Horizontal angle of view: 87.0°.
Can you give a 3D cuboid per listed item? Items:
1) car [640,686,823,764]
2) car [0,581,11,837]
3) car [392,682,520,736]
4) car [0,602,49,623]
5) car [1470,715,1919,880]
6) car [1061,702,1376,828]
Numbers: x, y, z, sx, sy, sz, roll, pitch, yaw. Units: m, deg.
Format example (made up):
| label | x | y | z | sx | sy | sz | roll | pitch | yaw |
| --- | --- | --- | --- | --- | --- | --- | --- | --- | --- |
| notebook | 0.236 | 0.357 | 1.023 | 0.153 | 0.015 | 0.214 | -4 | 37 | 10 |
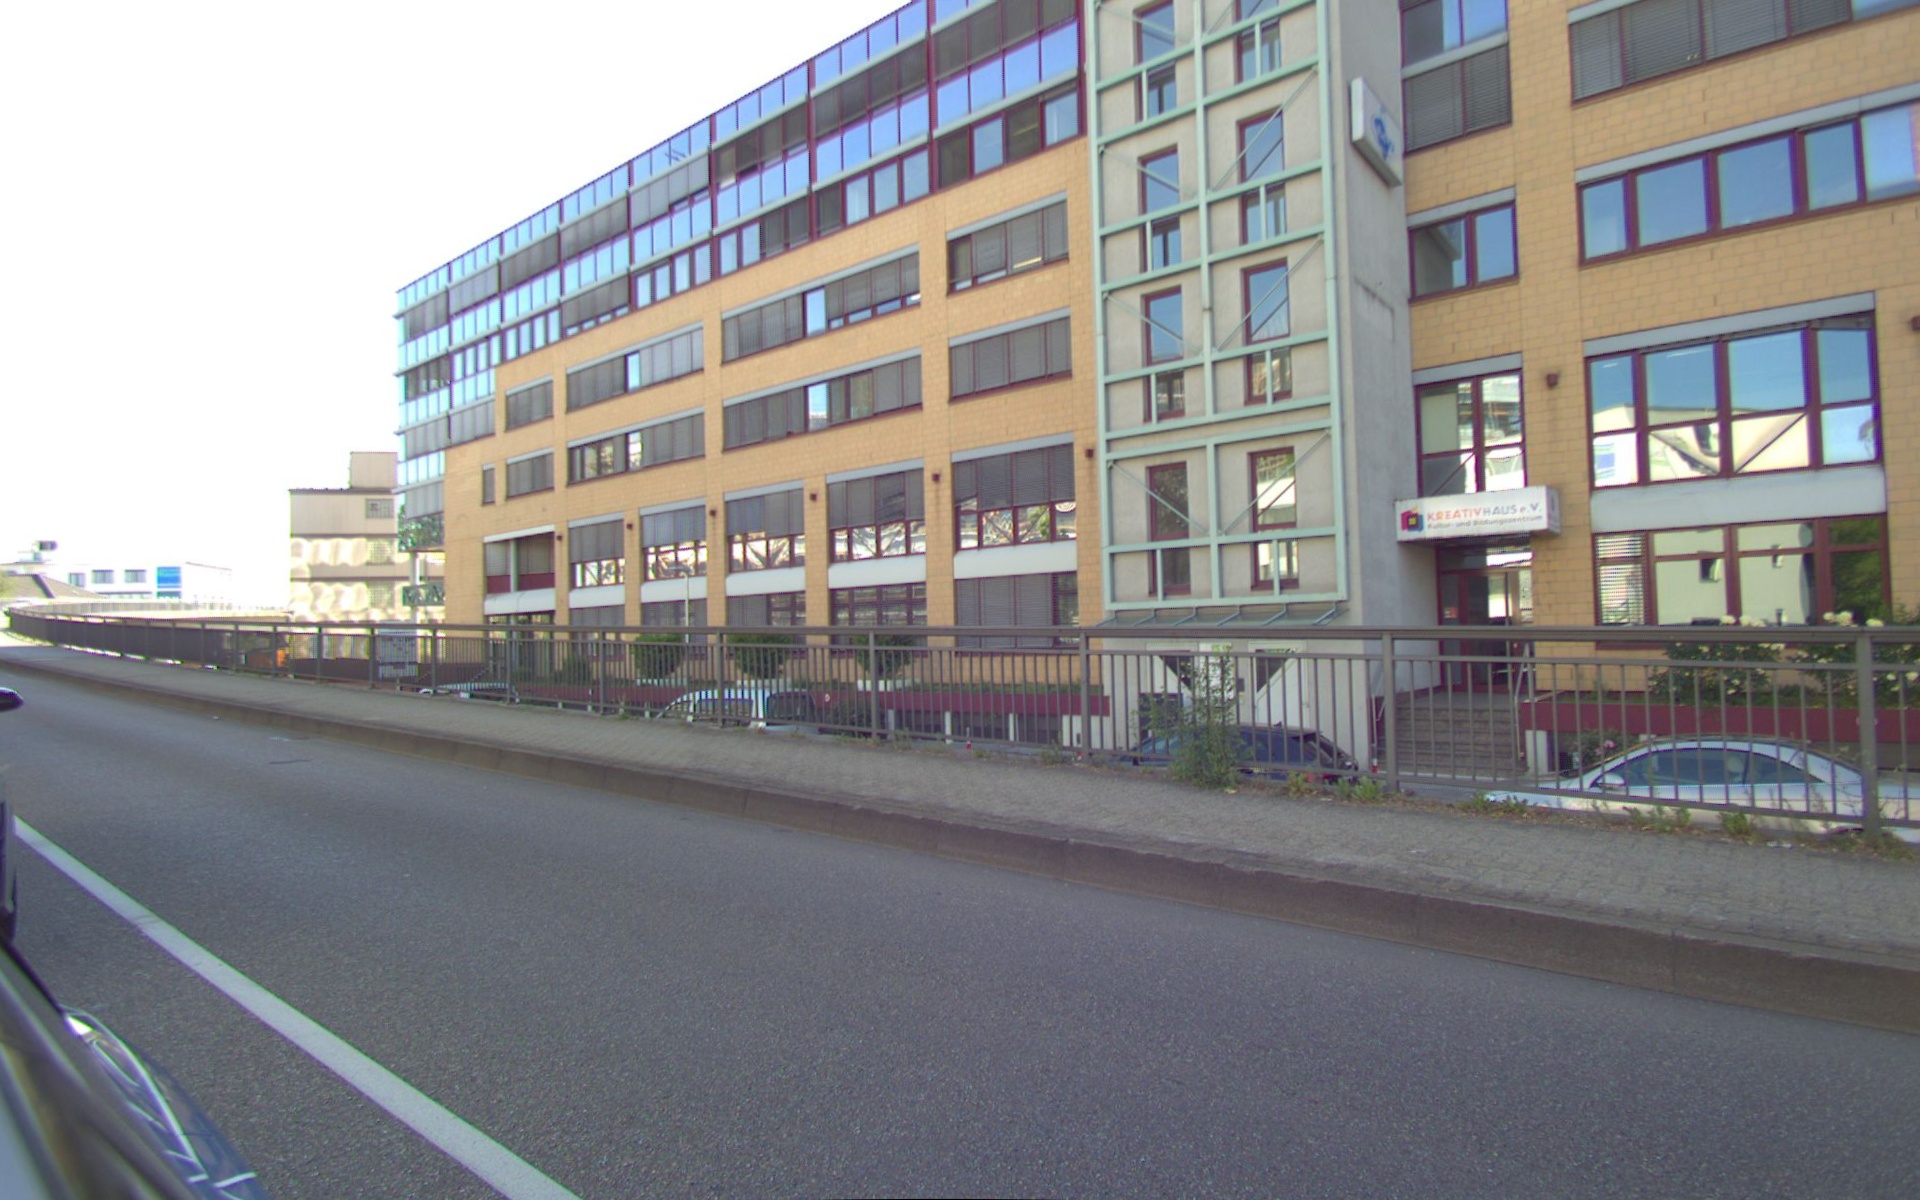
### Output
| label | x | y | z | sx | sy | sz | roll | pitch | yaw |
| --- | --- | --- | --- | --- | --- | --- | --- | --- | --- |
| car | -4.596 | 2.419 | 20.131 | 3.805 | 1.279 | 1.560 | -3 | -4 | 40 |
| car | -5.845 | 0.796 | 4.662 | 3.998 | 1.660 | 1.726 | -3 | -4 | 41 |
| car | -13.777 | 2.919 | 27.593 | 3.805 | 1.279 | 1.744 | -3 | -4 | 40 |
| car | -76.736 | 1.024 | 82.867 | 1.919 | 1.475 | 4.013 | 5 | -3 | -25 |
| car | 7.684 | 1.880 | 10.211 | 4.254 | 1.175 | 1.704 | -3 | -4 | 40 |
| car | 3.375 | 2.100 | 13.593 | 3.805 | 1.279 | 1.560 | -3 | -4 | 40 |
